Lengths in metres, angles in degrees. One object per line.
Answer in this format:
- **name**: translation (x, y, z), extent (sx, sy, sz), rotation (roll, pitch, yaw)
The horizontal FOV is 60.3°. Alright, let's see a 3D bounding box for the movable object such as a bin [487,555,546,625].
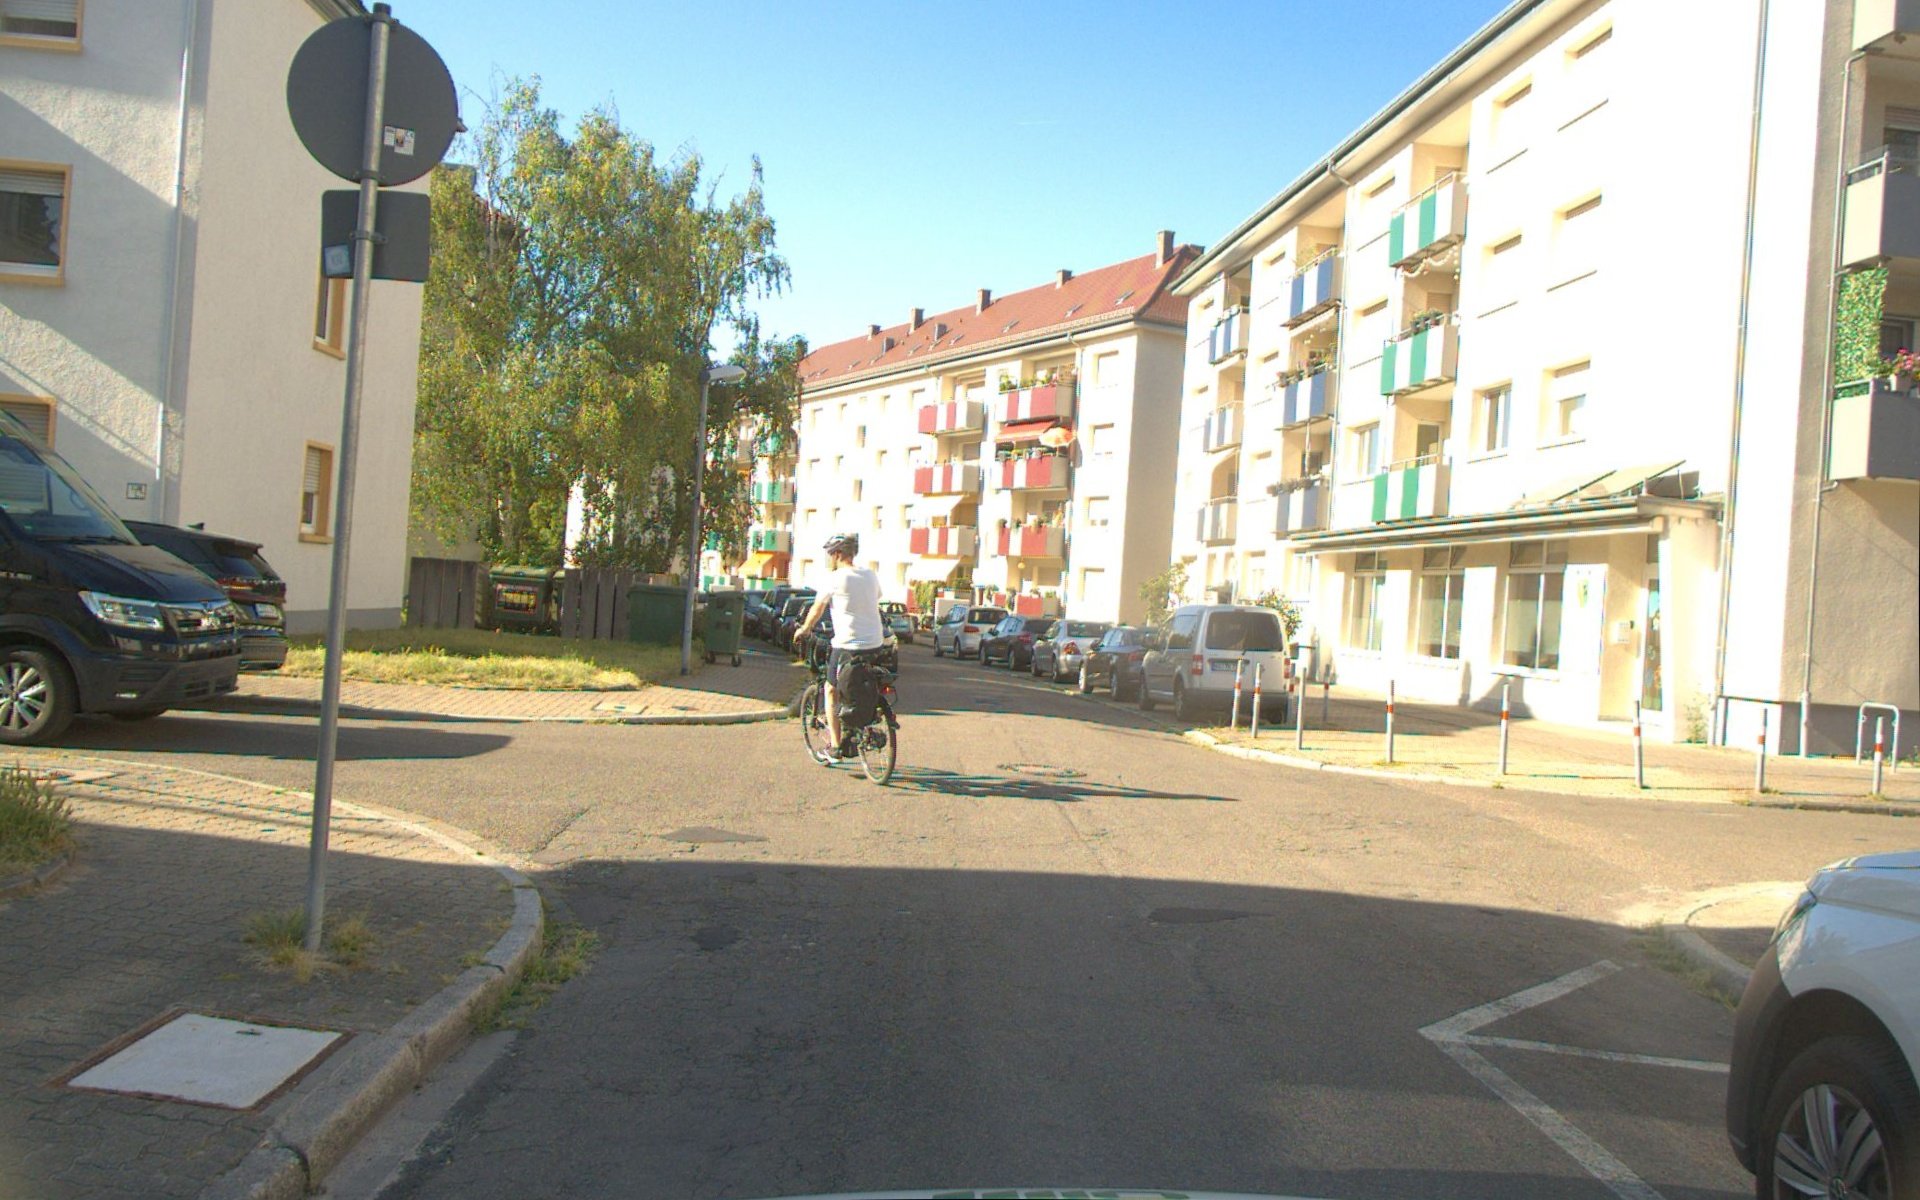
- **movable object such as a bin**: translation (-9.661, -0.214, 36.062), extent (1.040, 1.460, 1.002), rotation (2, 0, -5)

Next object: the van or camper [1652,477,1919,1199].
- **van or camper**: translation (2.820, 0.705, 2.039), extent (1.756, 1.778, 4.733), rotation (4, 0, -2)

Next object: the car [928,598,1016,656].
- **car**: translation (0.321, 0.817, 51.534), extent (1.665, 1.684, 4.373), rotation (2, -1, -14)

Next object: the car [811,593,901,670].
- **car**: translation (-2.260, 0.614, 35.046), extent (1.646, 1.478, 4.614), rotation (1, 0, -7)

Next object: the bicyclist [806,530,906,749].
- **bicyclist**: translation (-0.807, 0.288, 12.664), extent (0.586, 1.606, 0.904), rotation (2, 0, -13)

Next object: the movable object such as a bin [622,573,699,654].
- **movable object such as a bin**: translation (-5.616, 0.247, 31.050), extent (1.195, 1.404, 0.767), rotation (4, 0, 1)

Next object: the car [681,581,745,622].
- **car**: translation (-9.916, 0.041, 66.076), extent (1.669, 1.413, 4.132), rotation (4, 0, -20)

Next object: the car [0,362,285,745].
- **car**: translation (-8.479, -0.488, 12.415), extent (5.823, 2.589, 1.999), rotation (4, 0, -3)

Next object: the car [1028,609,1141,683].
- **car**: translation (2.854, 1.036, 38.923), extent (1.646, 1.472, 4.716), rotation (3, 0, -8)

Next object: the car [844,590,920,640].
- **car**: translation (-3.020, 0.548, 63.616), extent (1.740, 1.664, 4.017), rotation (2, 2, -21)

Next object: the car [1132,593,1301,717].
- **car**: translation (4.131, 0.839, 27.255), extent (1.713, 1.856, 4.126), rotation (1, 0, -6)

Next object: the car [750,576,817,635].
- **car**: translation (-5.553, 0.152, 51.701), extent (1.529, 1.744, 4.322), rotation (1, 0, -14)

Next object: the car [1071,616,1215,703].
- **car**: translation (3.552, 1.126, 32.909), extent (1.647, 1.431, 4.536), rotation (3, 0, -9)

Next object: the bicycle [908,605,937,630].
- **bicycle**: translation (-1.670, 0.764, 73.031), extent (0.609, 0.995, 1.883), rotation (0, 3, -23)

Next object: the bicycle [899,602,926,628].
- **bicycle**: translation (-2.080, 0.651, 72.437), extent (0.491, 1.037, 1.828), rotation (2, 0, -24)

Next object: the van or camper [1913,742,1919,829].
- **van or camper**: translation (10.497, 1.070, 12.788), extent (5.021, 2.048, 2.000), rotation (4, 2, -2)

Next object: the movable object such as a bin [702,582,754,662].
- **movable object such as a bin**: translation (-4.306, 0.395, 30.777), extent (0.760, 1.417, 1.416), rotation (3, 0, -4)

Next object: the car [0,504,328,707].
- **car**: translation (-8.553, 0.014, 15.620), extent (4.398, 1.693, 1.718), rotation (3, -1, -2)

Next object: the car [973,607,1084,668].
- **car**: translation (1.779, 0.977, 44.799), extent (1.666, 1.456, 4.669), rotation (2, 0, -15)

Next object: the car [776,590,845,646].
- **car**: translation (-4.173, 0.467, 45.660), extent (1.527, 1.468, 3.958), rotation (1, 0, -10)

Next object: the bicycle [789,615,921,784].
- **bicycle**: translation (-0.838, 0.728, 12.729), extent (0.617, 1.134, 1.809), rotation (4, 0, -15)
